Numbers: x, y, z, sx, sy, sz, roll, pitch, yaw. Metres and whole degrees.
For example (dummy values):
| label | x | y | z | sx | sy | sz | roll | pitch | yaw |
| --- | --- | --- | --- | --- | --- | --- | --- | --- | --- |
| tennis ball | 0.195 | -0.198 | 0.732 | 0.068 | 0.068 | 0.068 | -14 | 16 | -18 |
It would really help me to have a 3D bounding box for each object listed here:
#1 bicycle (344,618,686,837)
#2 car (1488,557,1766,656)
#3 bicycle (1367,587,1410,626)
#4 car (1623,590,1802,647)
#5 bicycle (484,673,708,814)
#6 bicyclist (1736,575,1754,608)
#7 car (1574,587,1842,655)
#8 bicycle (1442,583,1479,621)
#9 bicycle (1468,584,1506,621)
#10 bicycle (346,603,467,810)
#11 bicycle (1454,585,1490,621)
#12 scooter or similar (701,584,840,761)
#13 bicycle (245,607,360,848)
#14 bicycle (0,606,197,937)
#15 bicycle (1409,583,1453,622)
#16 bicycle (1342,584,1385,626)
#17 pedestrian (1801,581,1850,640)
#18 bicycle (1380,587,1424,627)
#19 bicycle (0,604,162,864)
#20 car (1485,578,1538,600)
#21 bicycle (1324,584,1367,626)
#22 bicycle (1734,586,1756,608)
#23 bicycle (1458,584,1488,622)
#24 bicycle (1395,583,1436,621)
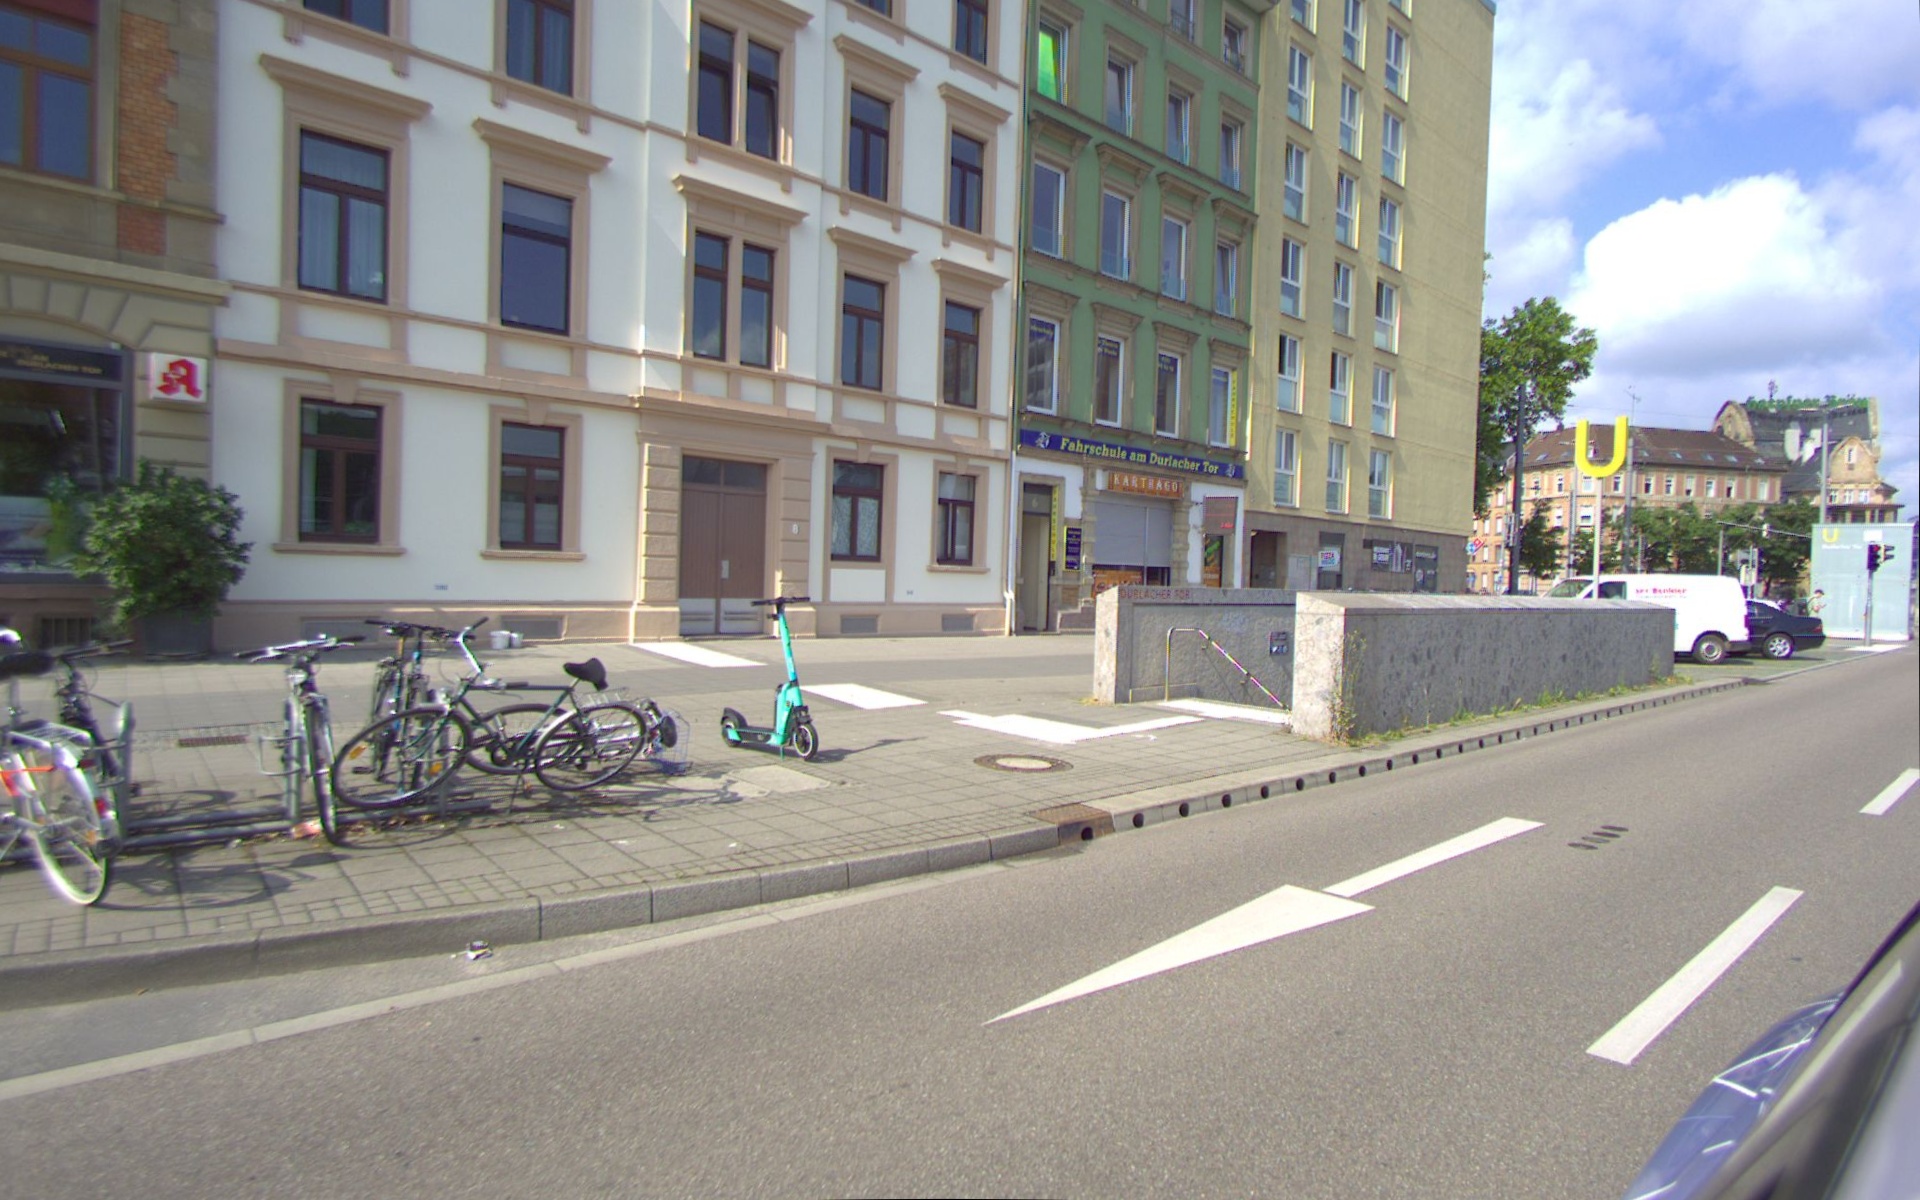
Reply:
| label | x | y | z | sx | sy | sz | roll | pitch | yaw |
| --- | --- | --- | --- | --- | --- | --- | --- | --- | --- |
| bicycle | -2.466 | 0.654 | 5.772 | 1.733 | 1.085 | 0.372 | 1 | 0 | -41 |
| car | 14.957 | 0.132 | 22.944 | 4.811 | 2.111 | 2.077 | 0 | 0 | 4 |
| bicycle | 13.666 | 0.198 | 32.255 | 1.615 | 1.216 | 0.488 | 0 | 2 | -37 |
| car | 20.329 | 0.484 | 27.469 | 3.454 | 1.458 | 1.715 | 0 | 0 | 9 |
| bicycle | -2.315 | 0.886 | 6.687 | 0.628 | 0.593 | 1.767 | 1 | 2 | 9 |
| bicyclist | 43.720 | -0.493 | 56.355 | 0.709 | 1.766 | 0.816 | 3 | 3 | 42 |
| car | 18.365 | 0.483 | 25.070 | 4.979 | 1.487 | 1.887 | 1 | 1 | 8 |
| bicycle | 17.700 | 0.069 | 35.776 | 1.615 | 1.288 | 0.488 | 0 | 2 | -37 |
| bicycle | 19.049 | 0.094 | 36.550 | 1.615 | 1.288 | 0.531 | 0 | 2 | -37 |
| bicycle | -3.514 | 0.590 | 6.360 | 0.365 | 1.099 | 1.763 | 2 | 0 | -38 |
| bicycle | 18.709 | 0.095 | 36.969 | 1.615 | 1.288 | 0.488 | 0 | 2 | -37 |
| scooter or similar | -1.504 | 0.528 | 7.958 | 1.159 | 1.253 | 0.377 | 3 | 2 | 38 |
| bicycle | -3.671 | 0.611 | 5.599 | 0.365 | 1.099 | 1.763 | 2 | 0 | -38 |
| bicycle | -3.655 | 0.593 | 4.053 | 1.588 | 1.099 | 0.368 | 1 | 0 | 31 |
| bicycle | 15.313 | 0.075 | 32.893 | 1.615 | 1.216 | 0.549 | 0 | 2 | -37 |
| bicycle | 12.034 | 0.143 | 30.146 | 1.617 | 1.216 | 0.487 | 0 | 2 | -41 |
| pedestrian | 27.106 | 0.323 | 31.700 | 0.985 | 1.781 | 0.780 | -1 | 3 | 25 |
| bicycle | 13.849 | 0.211 | 31.712 | 1.615 | 1.216 | 0.488 | 0 | 2 | -37 |
| bicycle | -4.509 | 0.588 | 5.138 | 1.756 | 1.099 | 0.367 | 1 | 0 | 41 |
| car | 46.489 | -0.944 | 85.420 | 1.961 | 1.570 | 4.007 | -4 | 4 | -5 |
| bicycle | 11.651 | 0.148 | 30.537 | 1.617 | 1.216 | 0.487 | 0 | 2 | -41 |
| bicycle | 43.721 | -0.200 | 56.366 | 0.786 | 1.141 | 1.962 | 4 | 4 | 41 |
| bicycle | 17.820 | 0.090 | 35.148 | 0.486 | 1.288 | 1.862 | 2 | 2 | 41 |
| bicycle | 15.016 | 0.071 | 33.373 | 1.615 | 1.216 | 0.488 | 0 | 2 | -37 |
